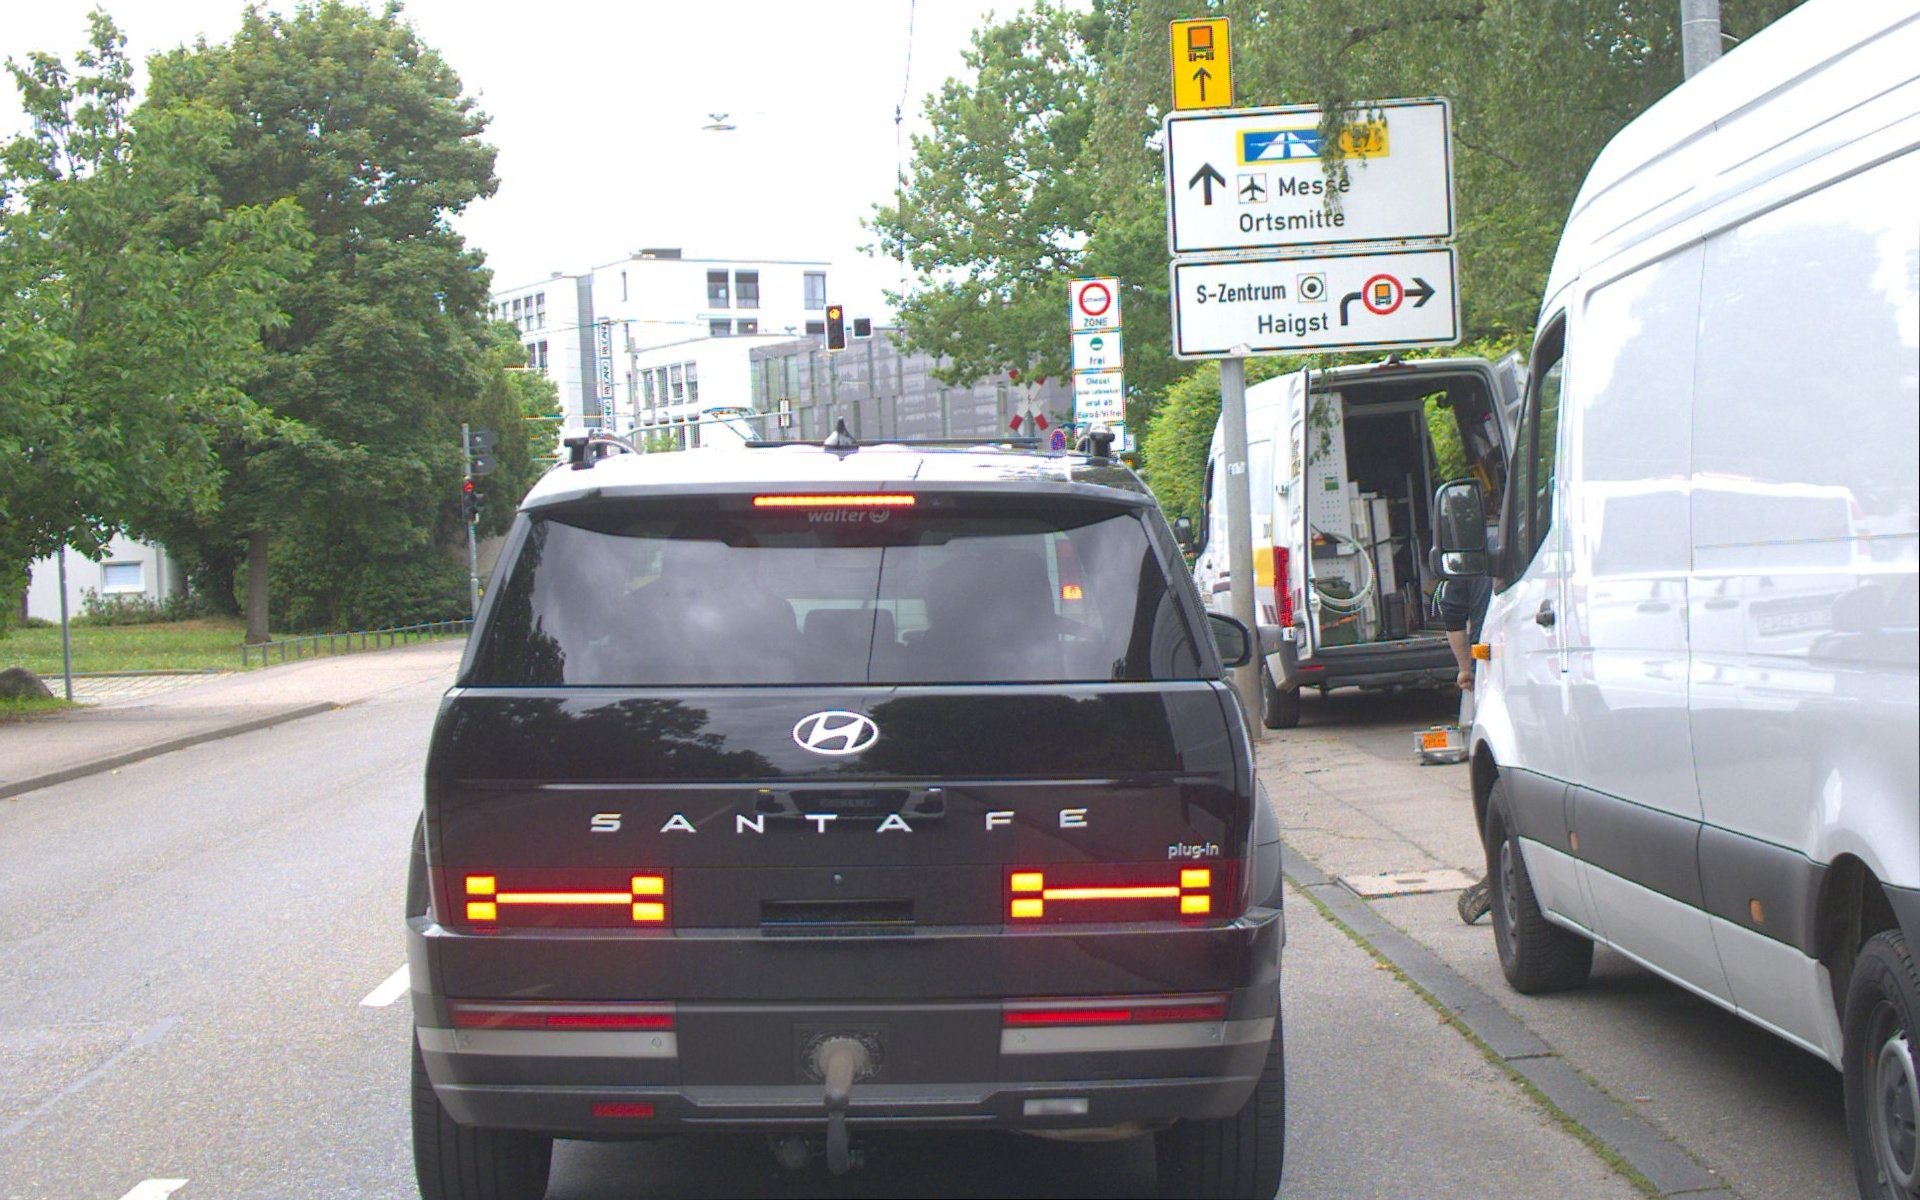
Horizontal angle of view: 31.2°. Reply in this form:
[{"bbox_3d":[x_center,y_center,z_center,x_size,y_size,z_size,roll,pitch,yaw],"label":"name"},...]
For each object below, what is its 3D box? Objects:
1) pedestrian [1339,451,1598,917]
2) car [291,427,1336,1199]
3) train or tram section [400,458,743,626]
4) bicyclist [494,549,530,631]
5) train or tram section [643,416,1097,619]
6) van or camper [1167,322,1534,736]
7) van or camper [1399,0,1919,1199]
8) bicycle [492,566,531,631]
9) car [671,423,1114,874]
[{"bbox_3d":[1.989,0.322,13.467,0.617,1.737,0.605,-5,1,-30],"label":"pedestrian"},{"bbox_3d":[-0.321,0.505,8.548,1.963,1.705,4.000,-1,1,-1],"label":"car"},{"bbox_3d":[-12.247,-1.565,105.180,3.193,4.507,18.684,0,-1,-30],"label":"train or tram section"},{"bbox_3d":[-9.133,-0.196,70.038,0.675,1.653,0.859,-1,-1,-10],"label":"bicyclist"},{"bbox_3d":[-2.821,-1.881,88.962,3.193,4.507,18.684,0,-1,-30],"label":"train or tram section"},{"bbox_3d":[2.916,-0.549,26.881,1.963,2.787,5.287,-4,1,-1],"label":"van or camper"},{"bbox_3d":[2.584,-0.072,8.056,1.963,2.619,6.359,-4,1,-1],"label":"van or camper"},{"bbox_3d":[-9.130,-0.015,70.005,0.675,1.275,2.501,-1,-1,-10],"label":"bicycle"},{"bbox_3d":[-0.351,0.183,17.487,1.963,1.994,4.000,-1,1,-1],"label":"car"}]
